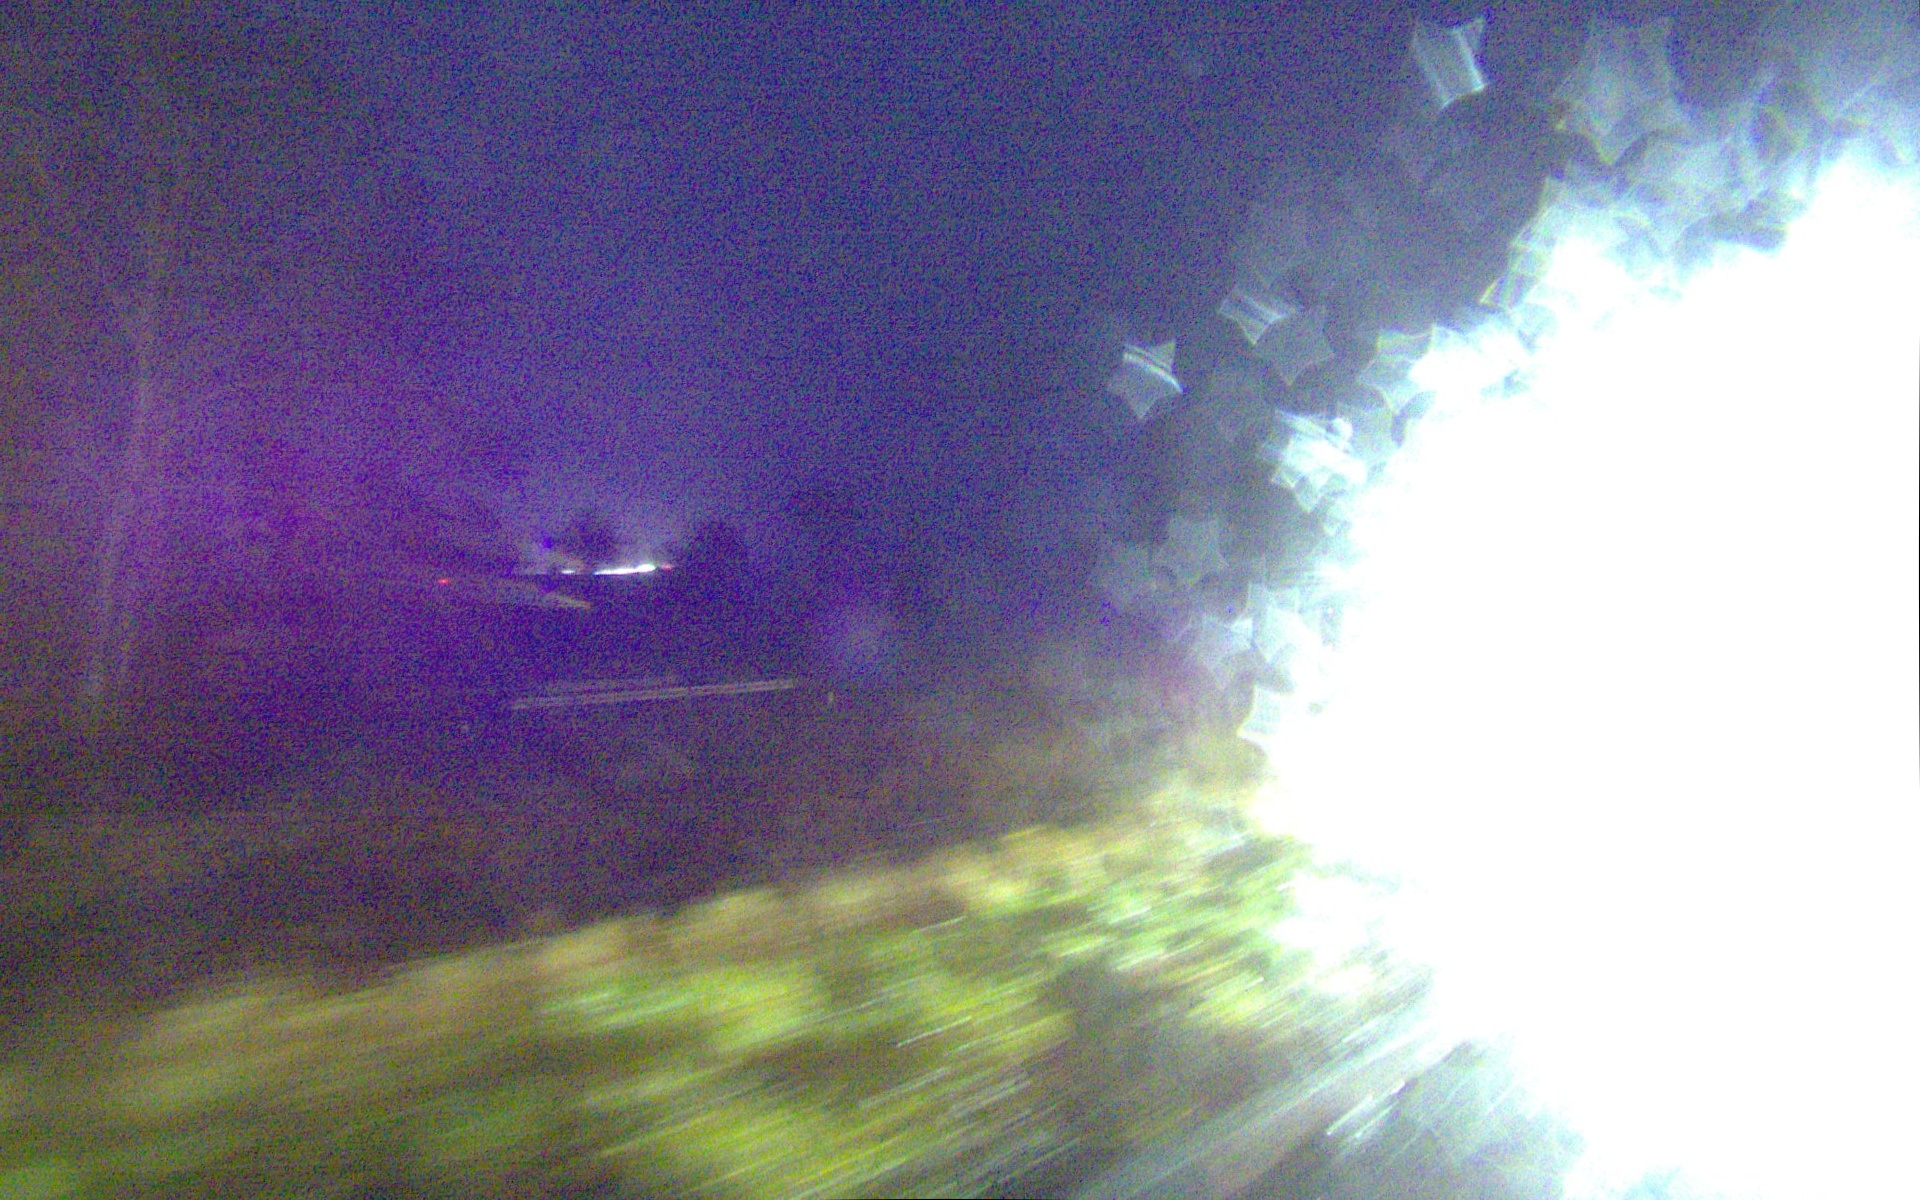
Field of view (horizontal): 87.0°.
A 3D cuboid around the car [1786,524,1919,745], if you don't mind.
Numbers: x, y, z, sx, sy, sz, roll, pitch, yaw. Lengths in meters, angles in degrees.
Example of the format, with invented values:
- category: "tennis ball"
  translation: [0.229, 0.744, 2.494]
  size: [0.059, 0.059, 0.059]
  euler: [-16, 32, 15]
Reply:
- category: "car"
  translation: [9.952, 0.231, 10.505]
  size: [1.994, 1.949, 4.311]
  euler: [0, 2, 38]

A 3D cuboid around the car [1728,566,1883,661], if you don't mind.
- category: "car"
  translation: [15.318, 0.247, 18.520]
  size: [1.676, 1.552, 3.939]
  euler: [-2, -1, 33]
